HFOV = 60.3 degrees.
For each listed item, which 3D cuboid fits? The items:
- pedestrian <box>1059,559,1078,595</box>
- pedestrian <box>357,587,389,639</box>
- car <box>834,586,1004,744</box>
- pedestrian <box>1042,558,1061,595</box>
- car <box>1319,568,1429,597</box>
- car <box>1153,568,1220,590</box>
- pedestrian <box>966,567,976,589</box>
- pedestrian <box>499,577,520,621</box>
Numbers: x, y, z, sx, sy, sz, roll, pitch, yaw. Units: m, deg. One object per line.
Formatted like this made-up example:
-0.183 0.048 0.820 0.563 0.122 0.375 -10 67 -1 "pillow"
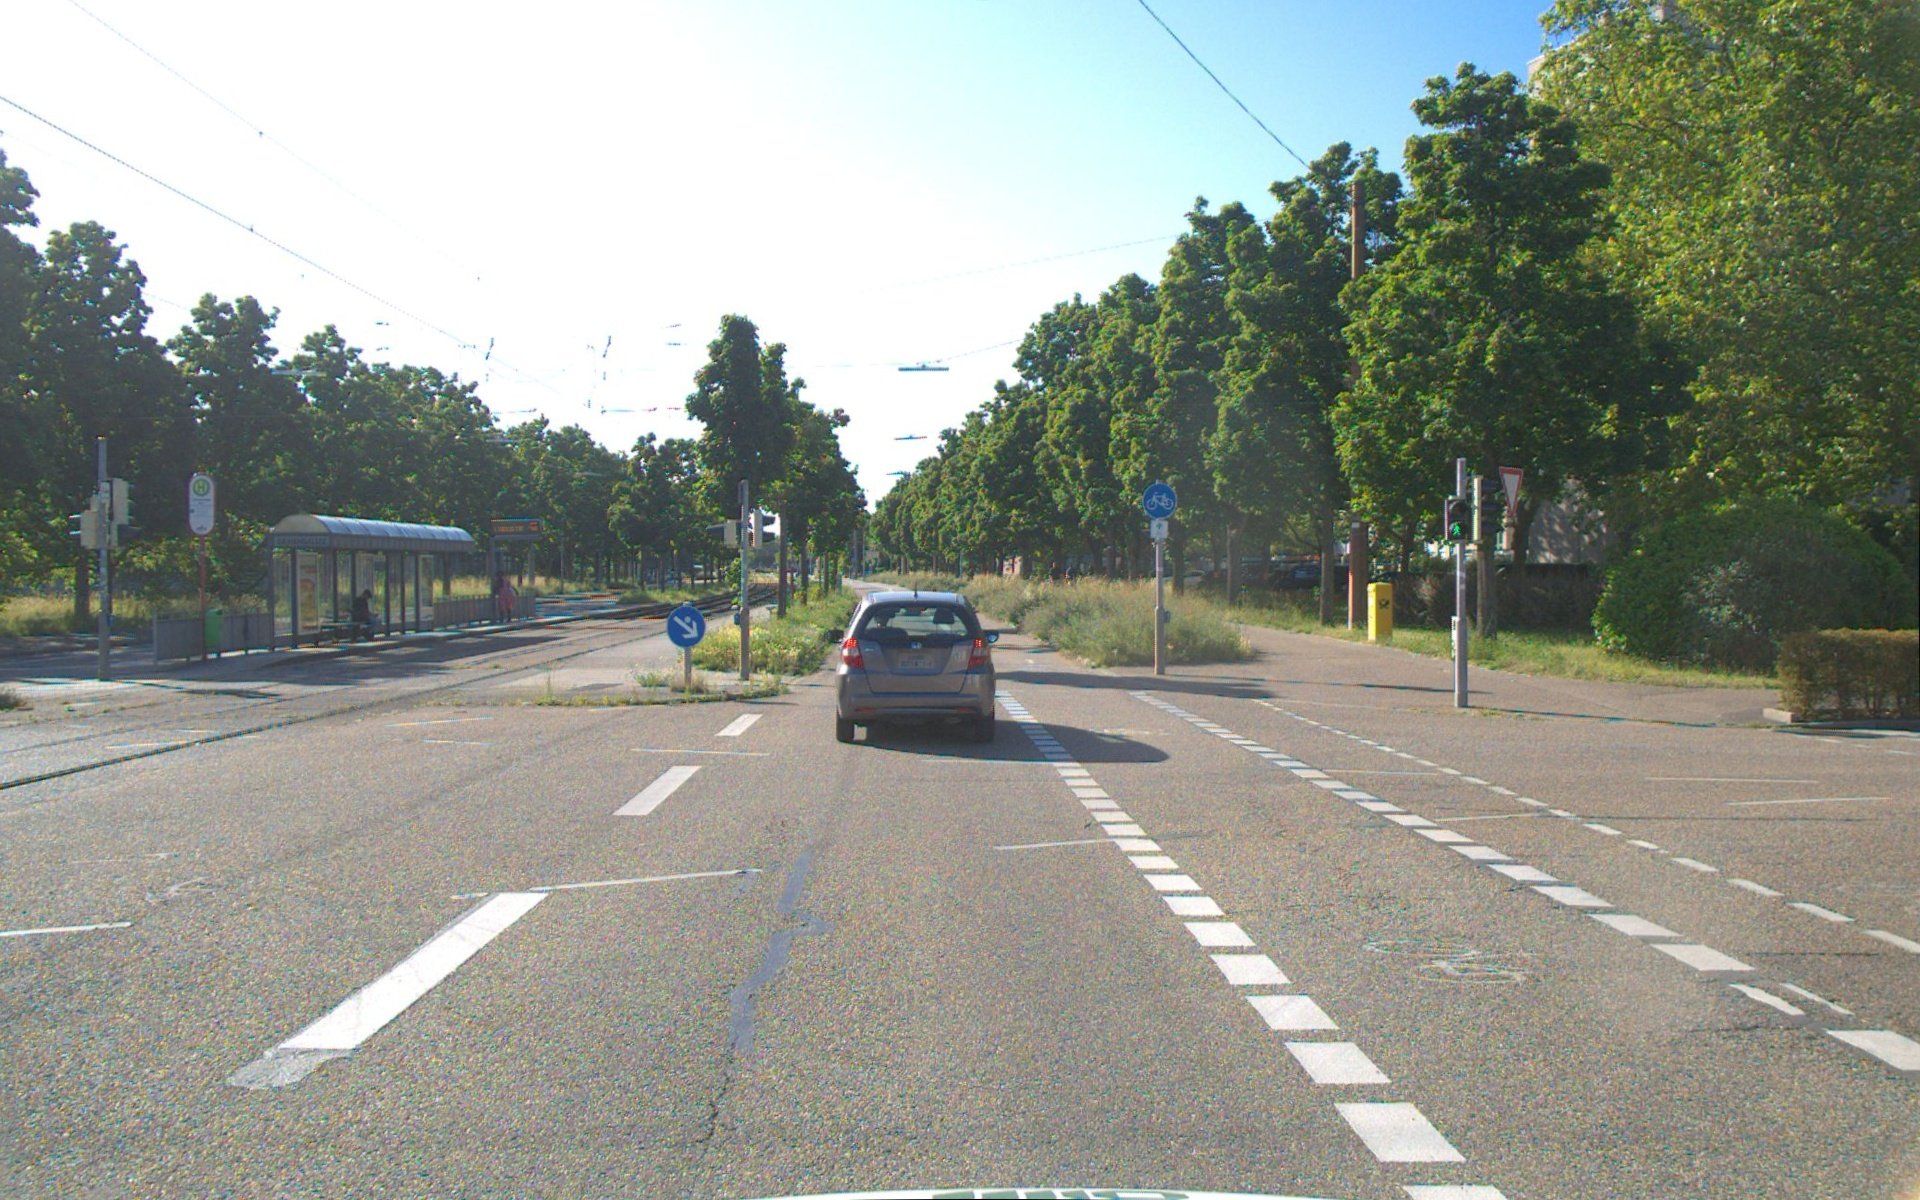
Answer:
5.746 -1.223 87.523 0.865 1.917 0.875 -1 1 -5 "pedestrian"
-14.816 0.326 41.728 0.552 1.279 0.580 -2 0 -2 "pedestrian"
-0.432 0.651 18.169 1.666 1.550 3.708 0 0 -1 "car"
4.826 -1.237 87.491 0.865 1.917 0.875 -1 1 -5 "pedestrian"
19.383 -0.818 77.502 4.588 1.350 2.086 0 1 34 "car"
16.615 -1.552 121.271 4.543 1.583 1.997 -1 1 -7 "car"
0.807 -1.664 126.133 0.710 1.720 0.820 0 0 -3 "pedestrian"
-15.322 -0.046 56.284 0.533 1.473 0.559 -1 0 -1 "pedestrian"
